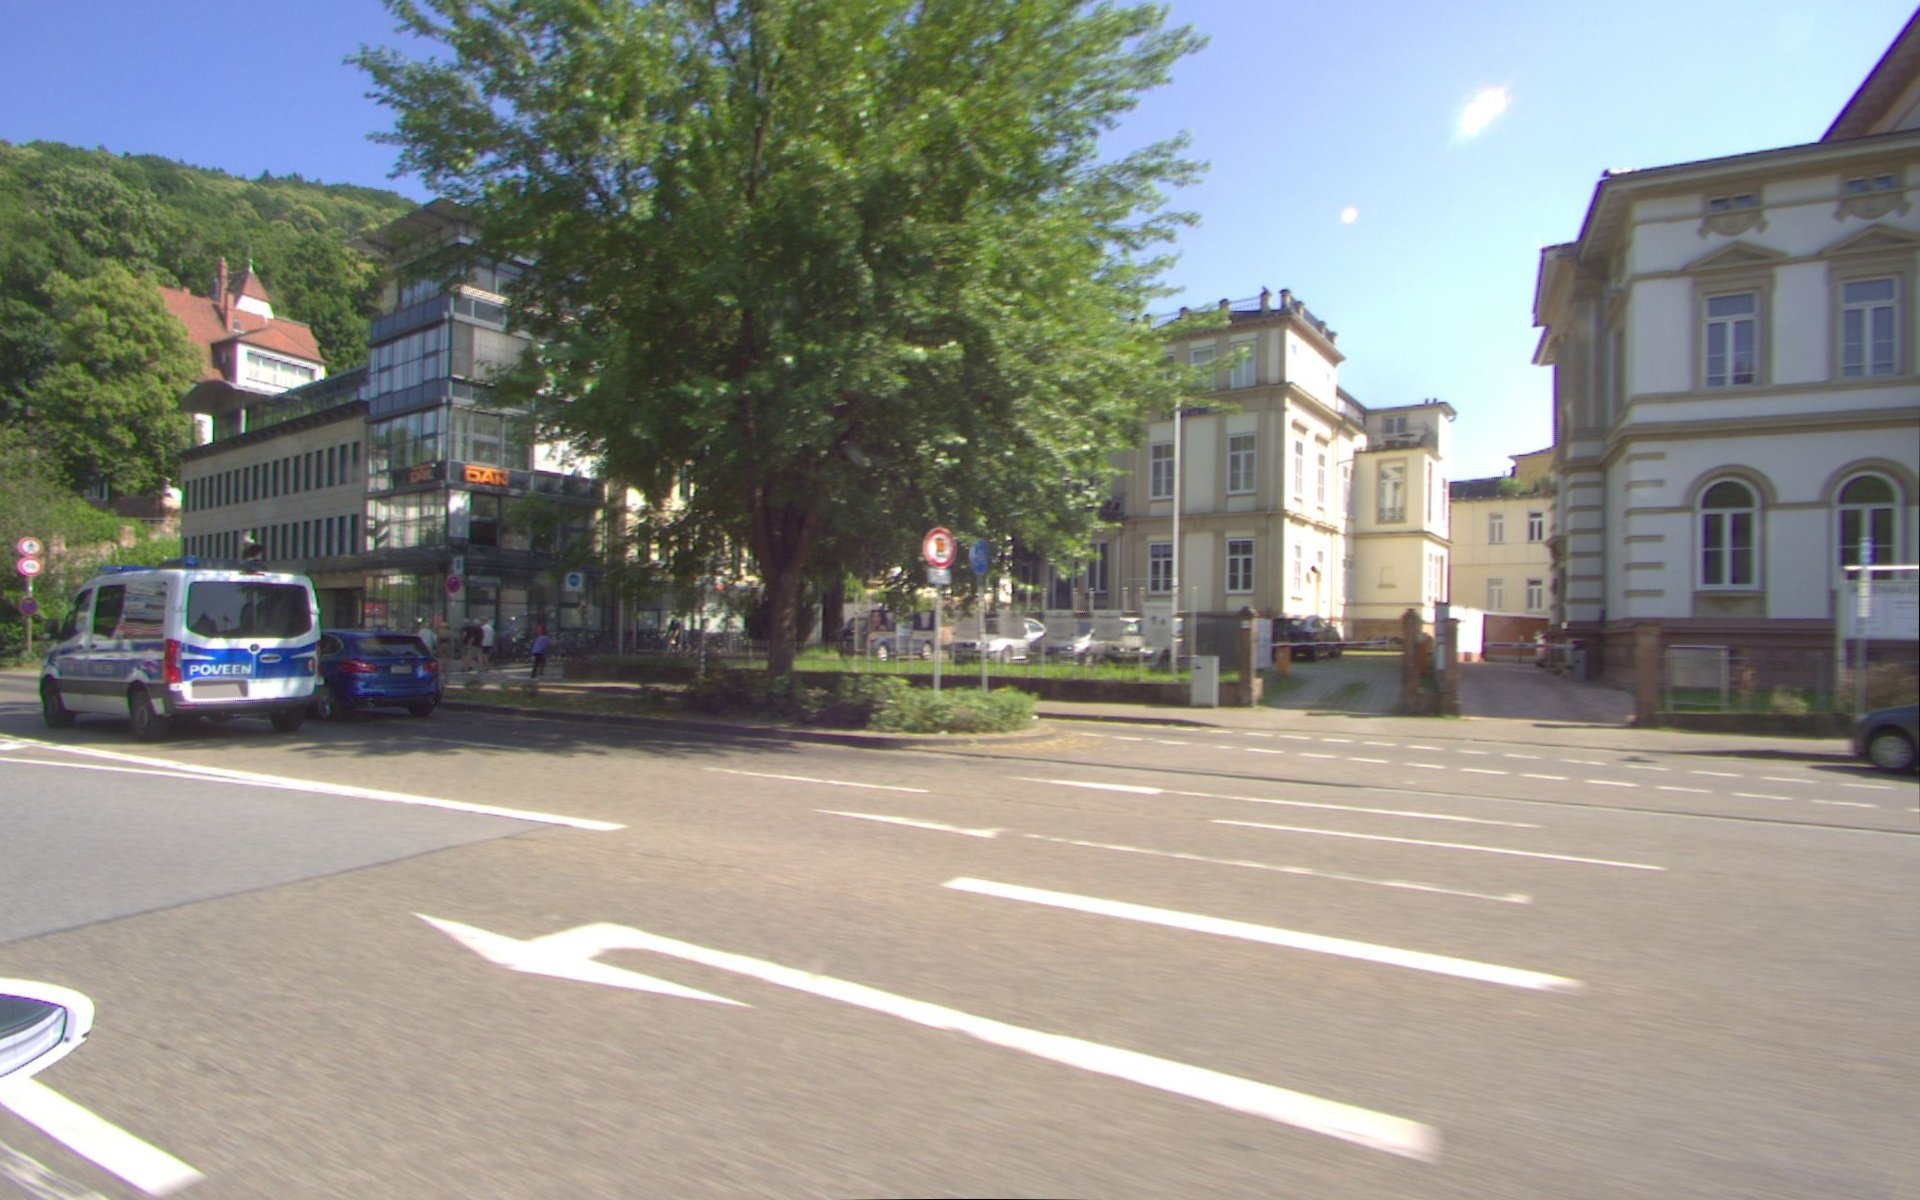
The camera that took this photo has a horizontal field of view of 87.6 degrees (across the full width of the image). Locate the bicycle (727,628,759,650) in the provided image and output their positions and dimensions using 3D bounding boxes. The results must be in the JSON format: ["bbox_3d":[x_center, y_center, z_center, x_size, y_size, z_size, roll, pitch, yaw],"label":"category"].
[{"bbox_3d":[-10.993,1.979,50.677,1.811,1.099,0.535,0,-1,37],"label":"bicycle"}]

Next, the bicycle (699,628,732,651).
[{"bbox_3d":[-12.043,1.930,49.249,1.811,1.099,0.535,0,-1,37],"label":"bicycle"}]

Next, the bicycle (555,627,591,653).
[{"bbox_3d":[-16.512,1.703,42.689,1.811,1.099,0.535,0,-1,37],"label":"bicycle"}]

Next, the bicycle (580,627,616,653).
[{"bbox_3d":[-15.815,1.738,43.719,1.811,1.099,0.535,0,-1,37],"label":"bicycle"}]

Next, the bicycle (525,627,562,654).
[{"bbox_3d":[-17.350,1.667,41.699,1.811,1.099,0.535,0,-1,37],"label":"bicycle"}]

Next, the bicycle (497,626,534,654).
[{"bbox_3d":[-18.077,1.633,40.701,1.811,1.099,0.535,0,-1,37],"label":"bicycle"}]

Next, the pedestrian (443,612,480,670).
[{"bbox_3d":[-16.649,1.367,33.457,0.819,1.878,0.768,0,-2,37],"label":"pedestrian"}]

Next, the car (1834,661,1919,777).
[{"bbox_3d":[13.561,1.557,12.238,1.794,1.480,4.105,2,-2,-12],"label":"car"}]

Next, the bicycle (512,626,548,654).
[{"bbox_3d":[-17.693,1.651,41.215,1.811,1.099,0.535,0,-1,37],"label":"bicycle"}]

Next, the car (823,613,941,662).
[{"bbox_3d":[-2.459,1.209,32.692,1.849,1.494,4.139,0,-2,30],"label":"car"}]

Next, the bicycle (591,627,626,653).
[{"bbox_3d":[-15.514,1.755,44.216,1.811,1.099,0.535,0,-1,37],"label":"bicycle"}]

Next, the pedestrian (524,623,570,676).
[{"bbox_3d":[-12.758,1.532,30.947,1.112,1.601,0.734,1,-1,-43],"label":"pedestrian"}]

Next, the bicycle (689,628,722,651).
[{"bbox_3d":[-12.411,1.912,48.754,1.811,1.099,0.535,0,-1,37],"label":"bicycle"}]

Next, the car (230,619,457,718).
[{"bbox_3d":[-11.264,1.193,18.231,4.208,1.560,1.718,0,-3,31],"label":"car"}]

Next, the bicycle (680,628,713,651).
[{"bbox_3d":[-12.707,1.894,48.229,1.811,1.099,0.535,0,-1,37],"label":"bicycle"}]

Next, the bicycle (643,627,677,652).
[{"bbox_3d":[-13.816,1.821,46.069,1.811,1.099,0.535,0,-1,37],"label":"bicycle"}]

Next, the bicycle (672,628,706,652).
[{"bbox_3d":[-12.894,1.875,47.632,1.811,1.099,0.535,0,-1,37],"label":"bicycle"}]

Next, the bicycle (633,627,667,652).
[{"bbox_3d":[-14.111,1.803,45.538,1.811,1.099,0.535,0,-1,37],"label":"bicycle"}]

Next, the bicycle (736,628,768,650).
[{"bbox_3d":[-10.611,1.996,51.140,1.811,1.099,0.535,0,-1,37],"label":"bicycle"}]

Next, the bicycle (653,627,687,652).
[{"bbox_3d":[-13.500,1.839,46.572,1.811,1.099,0.535,0,-1,37],"label":"bicycle"}]

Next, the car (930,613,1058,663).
[{"bbox_3d":[1.090,1.114,29.536,1.795,1.353,4.459,0,-2,32],"label":"car"}]

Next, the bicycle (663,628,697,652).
[{"bbox_3d":[-13.191,1.856,47.088,1.811,1.099,0.535,0,-1,37],"label":"bicycle"}]

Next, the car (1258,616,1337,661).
[{"bbox_3d":[12.421,1.400,36.699,1.839,1.529,4.043,0,-2,32],"label":"car"}]

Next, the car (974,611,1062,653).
[{"bbox_3d":[2.455,1.319,41.529,1.795,1.624,4.301,0,-2,32],"label":"car"}]

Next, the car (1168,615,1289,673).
[{"bbox_3d":[7.035,1.114,25.960,1.963,1.353,4.034,0,-2,32],"label":"car"}]

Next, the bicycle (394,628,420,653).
[{"bbox_3d":[-22.465,1.633,40.657,1.323,0.953,0.404,0,-1,35],"label":"bicycle"}]

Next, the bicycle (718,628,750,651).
[{"bbox_3d":[-11.337,1.963,50.224,1.811,1.099,0.535,0,-1,37],"label":"bicycle"}]

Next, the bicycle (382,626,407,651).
[{"bbox_3d":[-23.569,1.604,41.734,1.323,1.026,0.404,0,-1,35],"label":"bicycle"}]

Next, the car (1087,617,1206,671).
[{"bbox_3d":[5.129,1.173,27.215,1.834,1.353,4.034,0,-2,32],"label":"car"}]

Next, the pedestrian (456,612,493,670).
[{"bbox_3d":[-15.958,1.337,32.921,0.818,1.878,0.769,0,-2,36],"label":"pedestrian"}]

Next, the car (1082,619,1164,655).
[{"bbox_3d":[6.521,1.466,39.801,1.795,1.353,4.069,0,-2,32],"label":"car"}]

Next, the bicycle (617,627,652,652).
[{"bbox_3d":[-14.652,1.787,45.104,1.811,1.099,0.535,0,-1,37],"label":"bicycle"}]

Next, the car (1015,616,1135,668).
[{"bbox_3d":[3.329,1.172,28.341,1.795,1.353,4.078,0,-2,32],"label":"car"}]

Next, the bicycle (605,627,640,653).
[{"bbox_3d":[-15.022,1.769,44.576,1.811,1.099,0.535,0,-1,37],"label":"bicycle"}]

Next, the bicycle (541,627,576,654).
[{"bbox_3d":[-16.901,1.683,42.135,1.811,1.099,0.535,0,-1,37],"label":"bicycle"}]

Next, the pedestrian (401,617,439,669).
[{"bbox_3d":[-17.822,1.409,33.051,0.818,1.684,0.769,0,-2,36],"label":"pedestrian"}]

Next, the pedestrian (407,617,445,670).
[{"bbox_3d":[-17.302,1.416,32.447,0.818,1.684,0.769,0,-2,35],"label":"pedestrian"}]

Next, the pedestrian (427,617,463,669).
[{"bbox_3d":[-16.981,1.417,33.013,0.819,1.684,0.768,0,-2,40],"label":"pedestrian"}]

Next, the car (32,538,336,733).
[{"bbox_3d":[-11.872,0.529,15.240,4.858,2.540,2.070,-1,-2,32],"label":"car"}]
